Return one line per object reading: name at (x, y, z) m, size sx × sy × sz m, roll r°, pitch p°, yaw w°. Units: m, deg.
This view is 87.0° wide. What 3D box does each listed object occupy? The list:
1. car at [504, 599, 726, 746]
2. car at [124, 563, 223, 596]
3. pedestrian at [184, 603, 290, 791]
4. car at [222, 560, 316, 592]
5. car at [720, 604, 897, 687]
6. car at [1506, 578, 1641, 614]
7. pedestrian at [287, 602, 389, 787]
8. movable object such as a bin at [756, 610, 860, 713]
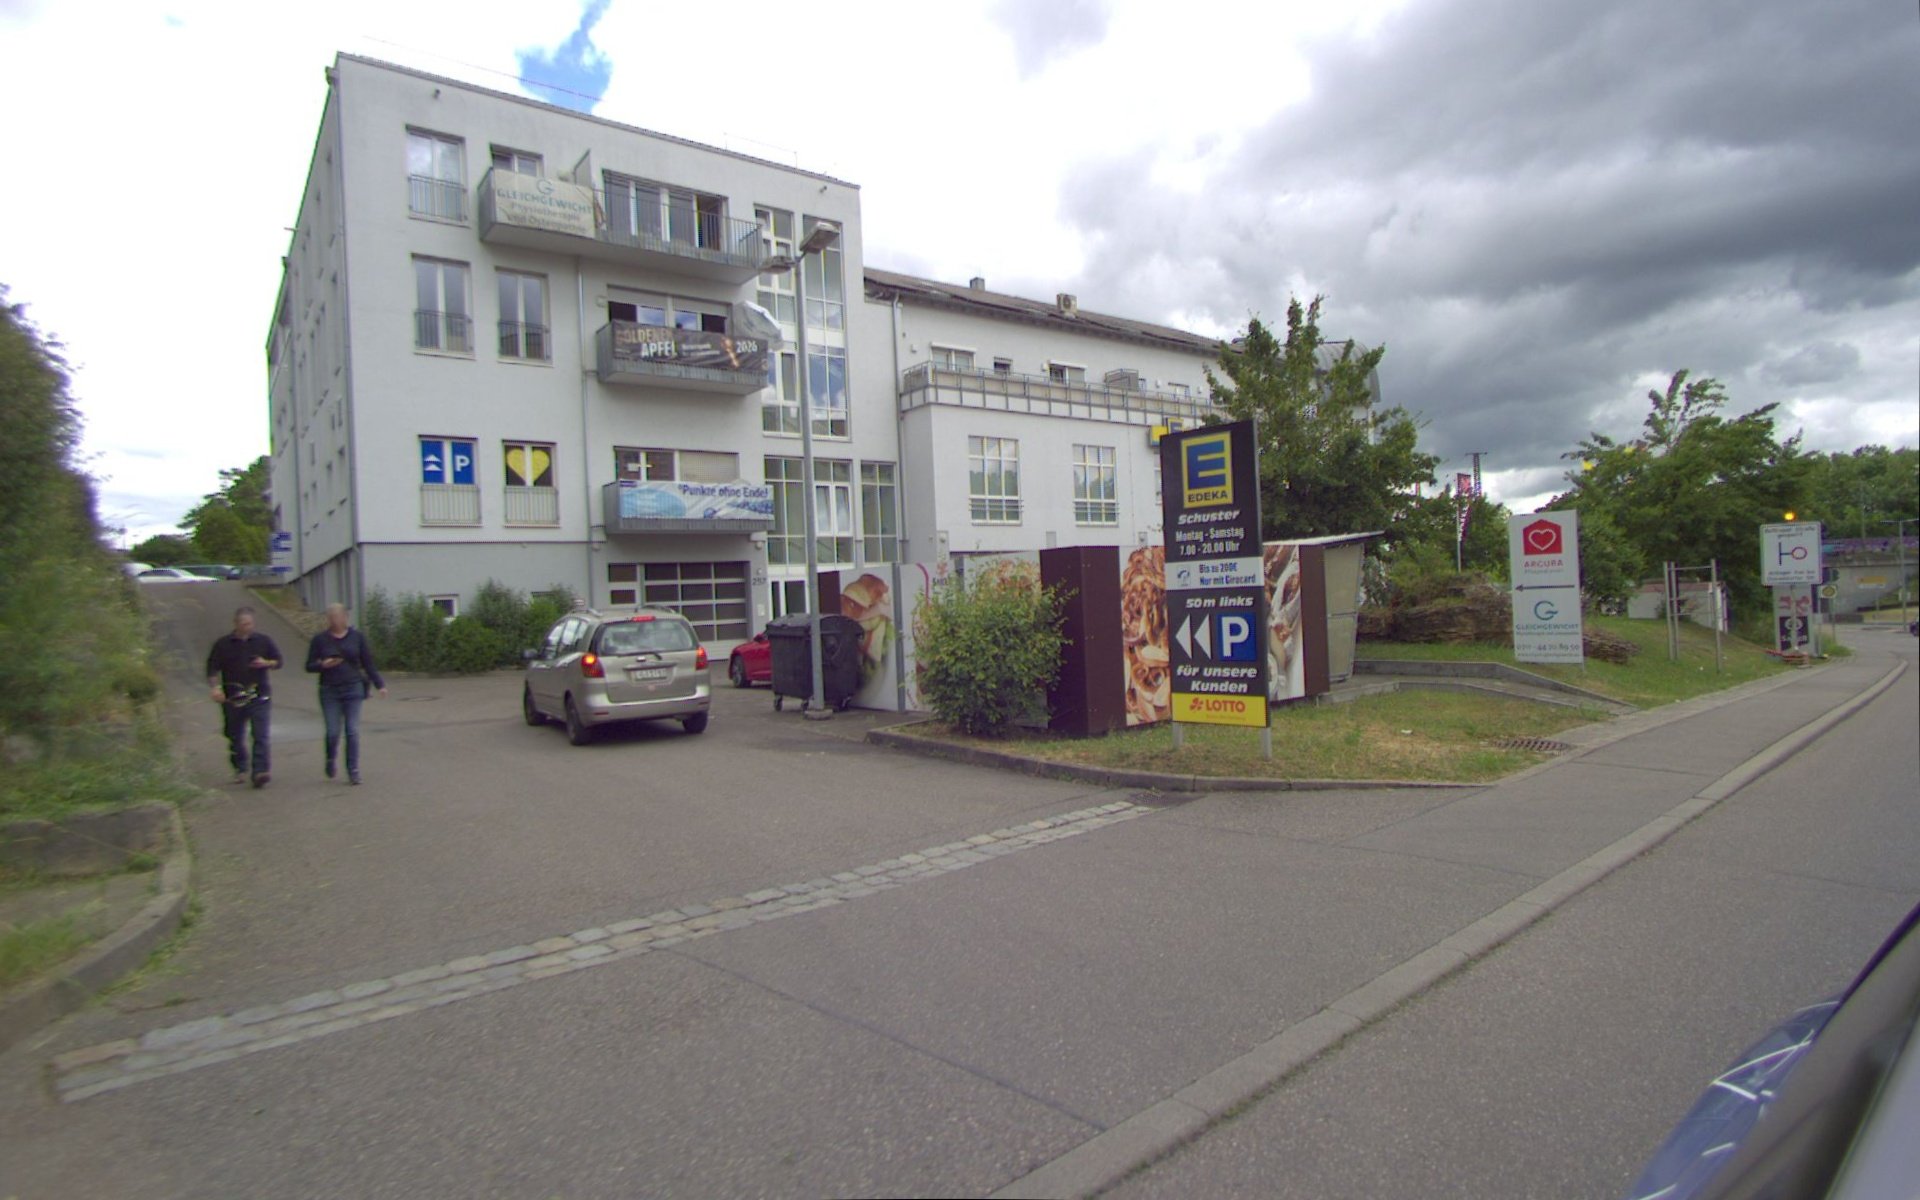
car at (-4.805, 0.834, 13.690) m, size 1.754 × 1.613 × 4.254 m, roll -2°, pitch 1°, yaw -34°
car at (-45.193, -1.171, 58.233) m, size 4.168 × 1.553 × 1.761 m, roll -3°, pitch -2°, yaw -8°
pedestrian at (-6.950, 0.886, 9.757) m, size 0.790 × 1.711 × 0.792 m, roll 0°, pitch -1°, yaw -35°
car at (-40.418, -1.398, 59.258) m, size 4.168 × 1.553 × 1.761 m, roll -3°, pitch -2°, yaw -8°
car at (-3.126, 0.901, 20.151) m, size 1.727 × 1.468 × 4.252 m, roll 0°, pitch -3°, yaw -35°
car at (26.512, -0.158, 43.871) m, size 1.686 × 1.398 × 4.703 m, roll -2°, pitch 0°, yaw -40°
pedestrian at (-6.006, 0.866, 9.769) m, size 0.790 × 1.679 × 0.733 m, roll 0°, pitch -1°, yaw -35°
movable object such as a bin at (-2.258, 0.869, 14.972) m, size 1.038 × 1.431 × 1.247 m, roll 0°, pitch -1°, yaw -40°
